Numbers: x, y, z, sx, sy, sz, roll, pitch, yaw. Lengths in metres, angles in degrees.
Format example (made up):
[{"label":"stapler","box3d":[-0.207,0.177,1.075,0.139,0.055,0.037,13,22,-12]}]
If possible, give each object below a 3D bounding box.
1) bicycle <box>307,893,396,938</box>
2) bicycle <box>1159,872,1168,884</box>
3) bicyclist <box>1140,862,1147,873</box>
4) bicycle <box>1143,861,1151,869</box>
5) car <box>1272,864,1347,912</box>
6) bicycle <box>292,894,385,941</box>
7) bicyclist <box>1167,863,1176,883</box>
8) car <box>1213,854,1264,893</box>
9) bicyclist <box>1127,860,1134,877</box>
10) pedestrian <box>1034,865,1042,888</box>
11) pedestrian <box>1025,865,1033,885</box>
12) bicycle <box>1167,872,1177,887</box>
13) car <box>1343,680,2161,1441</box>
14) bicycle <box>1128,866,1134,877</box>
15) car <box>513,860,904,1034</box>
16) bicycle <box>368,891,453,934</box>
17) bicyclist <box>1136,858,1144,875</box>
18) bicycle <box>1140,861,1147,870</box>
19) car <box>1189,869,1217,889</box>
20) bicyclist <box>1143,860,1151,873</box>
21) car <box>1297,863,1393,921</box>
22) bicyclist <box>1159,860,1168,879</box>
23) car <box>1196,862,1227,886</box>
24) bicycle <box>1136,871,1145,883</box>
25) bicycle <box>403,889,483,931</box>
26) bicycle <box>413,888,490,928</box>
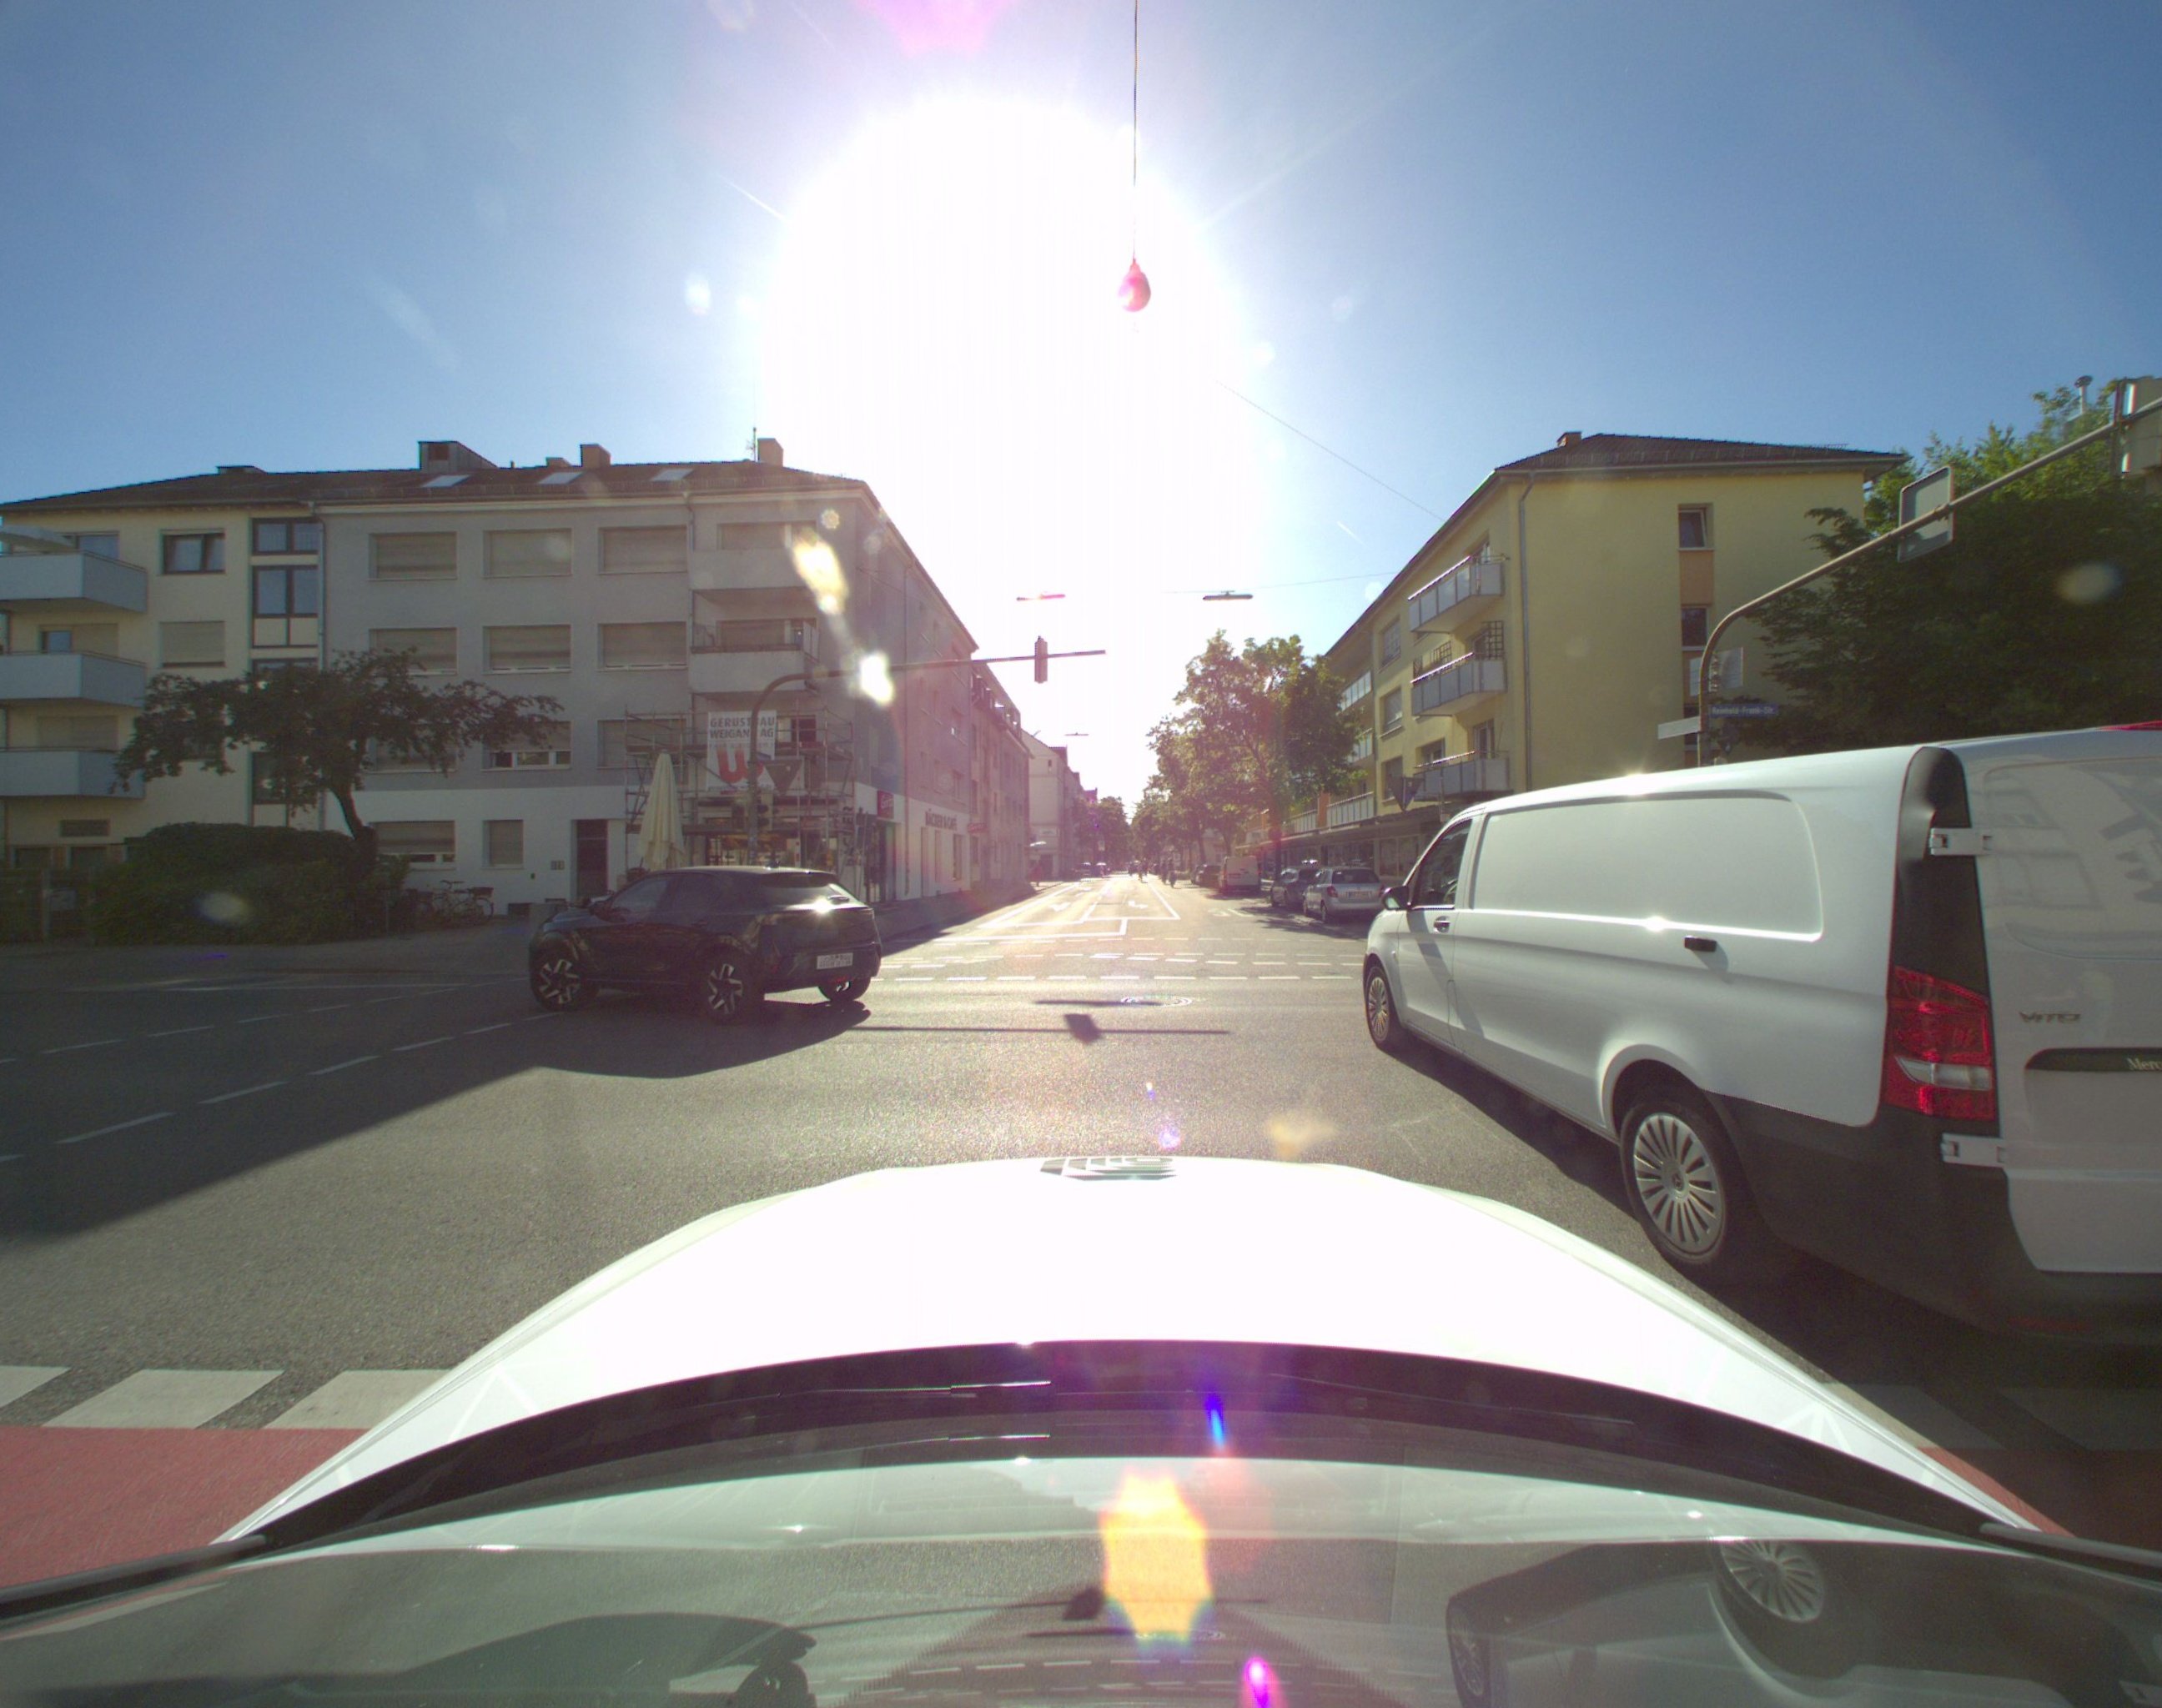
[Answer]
[{"label":"bicycle","box3d":[-16.157,1.362,18.043,1.581,0.940,0.513,-1,-1,5]},{"label":"bicycle","box3d":[5.987,1.723,59.020,0.544,0.866,1.878,-1,-1,4]},{"label":"bicyclist","box3d":[6.329,1.367,82.692,0.689,1.193,0.596,-1,-1,4]},{"label":"bicycle","box3d":[7.335,1.226,90.612,0.852,0.945,2.309,1,-1,3]},{"label":"car","box3d":[7.572,1.079,27.277,1.705,1.483,3.384,-1,-1,3]},{"label":"bicycle","box3d":[-15.898,1.350,17.447,1.581,0.940,0.513,-1,-1,5]},{"label":"bicyclist","box3d":[5.662,1.198,51.016,0.544,1.262,0.803,-1,-1,4]},{"label":"car","box3d":[7.897,0.965,41.194,2.037,1.846,4.589,-1,-1,4]},{"label":"bicyclist","box3d":[5.039,1.482,82.850,0.629,1.669,1.051,-1,-1,3]},{"label":"pedestrian","box3d":[-3.046,1.596,57.694,0.575,1.583,0.707,-1,-1,-2]},{"label":"pedestrian","box3d":[-3.710,1.487,57.965,0.575,1.467,0.702,-1,-1,-2]},{"label":"bicycle","box3d":[5.659,1.571,50.937,0.544,0.866,1.878,-1,-1,4]},{"label":"car","box3d":[3.100,0.519,4.359,1.961,1.810,4.834,-1,-1,2]},{"label":"bicycle","box3d":[5.092,1.804,83.194,0.629,1.041,1.796,-1,-1,3]},{"label":"car","box3d":[-4.113,0.876,8.949,3.950,1.558,1.778,-1,-1,26]},{"label":"bicycle","box3d":[-15.515,1.343,18.854,1.581,0.940,0.513,-1,-1,5]},{"label":"bicyclist","box3d":[4.640,0.975,63.731,0.586,1.382,0.824,-1,-1,4]},{"label":"bicycle","box3d":[6.339,1.198,82.742,0.688,0.866,1.878,-1,-1,4]},{"label":"car","box3d":[8.891,1.809,59.608,1.705,1.314,3.384,-1,-1,3]},{"label":"bicyclist","box3d":[7.334,1.386,90.711,0.852,1.314,1.211,1,-1,3]},{"label":"car","box3d":[7.250,0.993,22.650,1.705,1.483,3.483,-1,-1,3]},{"label":"bicyclist","box3d":[5.982,1.129,59.066,0.544,1.382,0.824,-1,-1,4]},{"label":"car","box3d":[8.557,1.283,53.592,1.705,1.483,3.384,-1,-1,3]},{"label":"bicycle","box3d":[4.653,1.802,63.703,0.617,0.866,1.878,-1,-1,4]},{"label":"bicycle","box3d":[-15.433,1.350,19.713,1.581,0.940,0.513,-1,-1,5]},{"label":"bicycle","box3d":[-15.793,1.346,20.444,1.581,0.940,0.513,-1,-1,5]}]
